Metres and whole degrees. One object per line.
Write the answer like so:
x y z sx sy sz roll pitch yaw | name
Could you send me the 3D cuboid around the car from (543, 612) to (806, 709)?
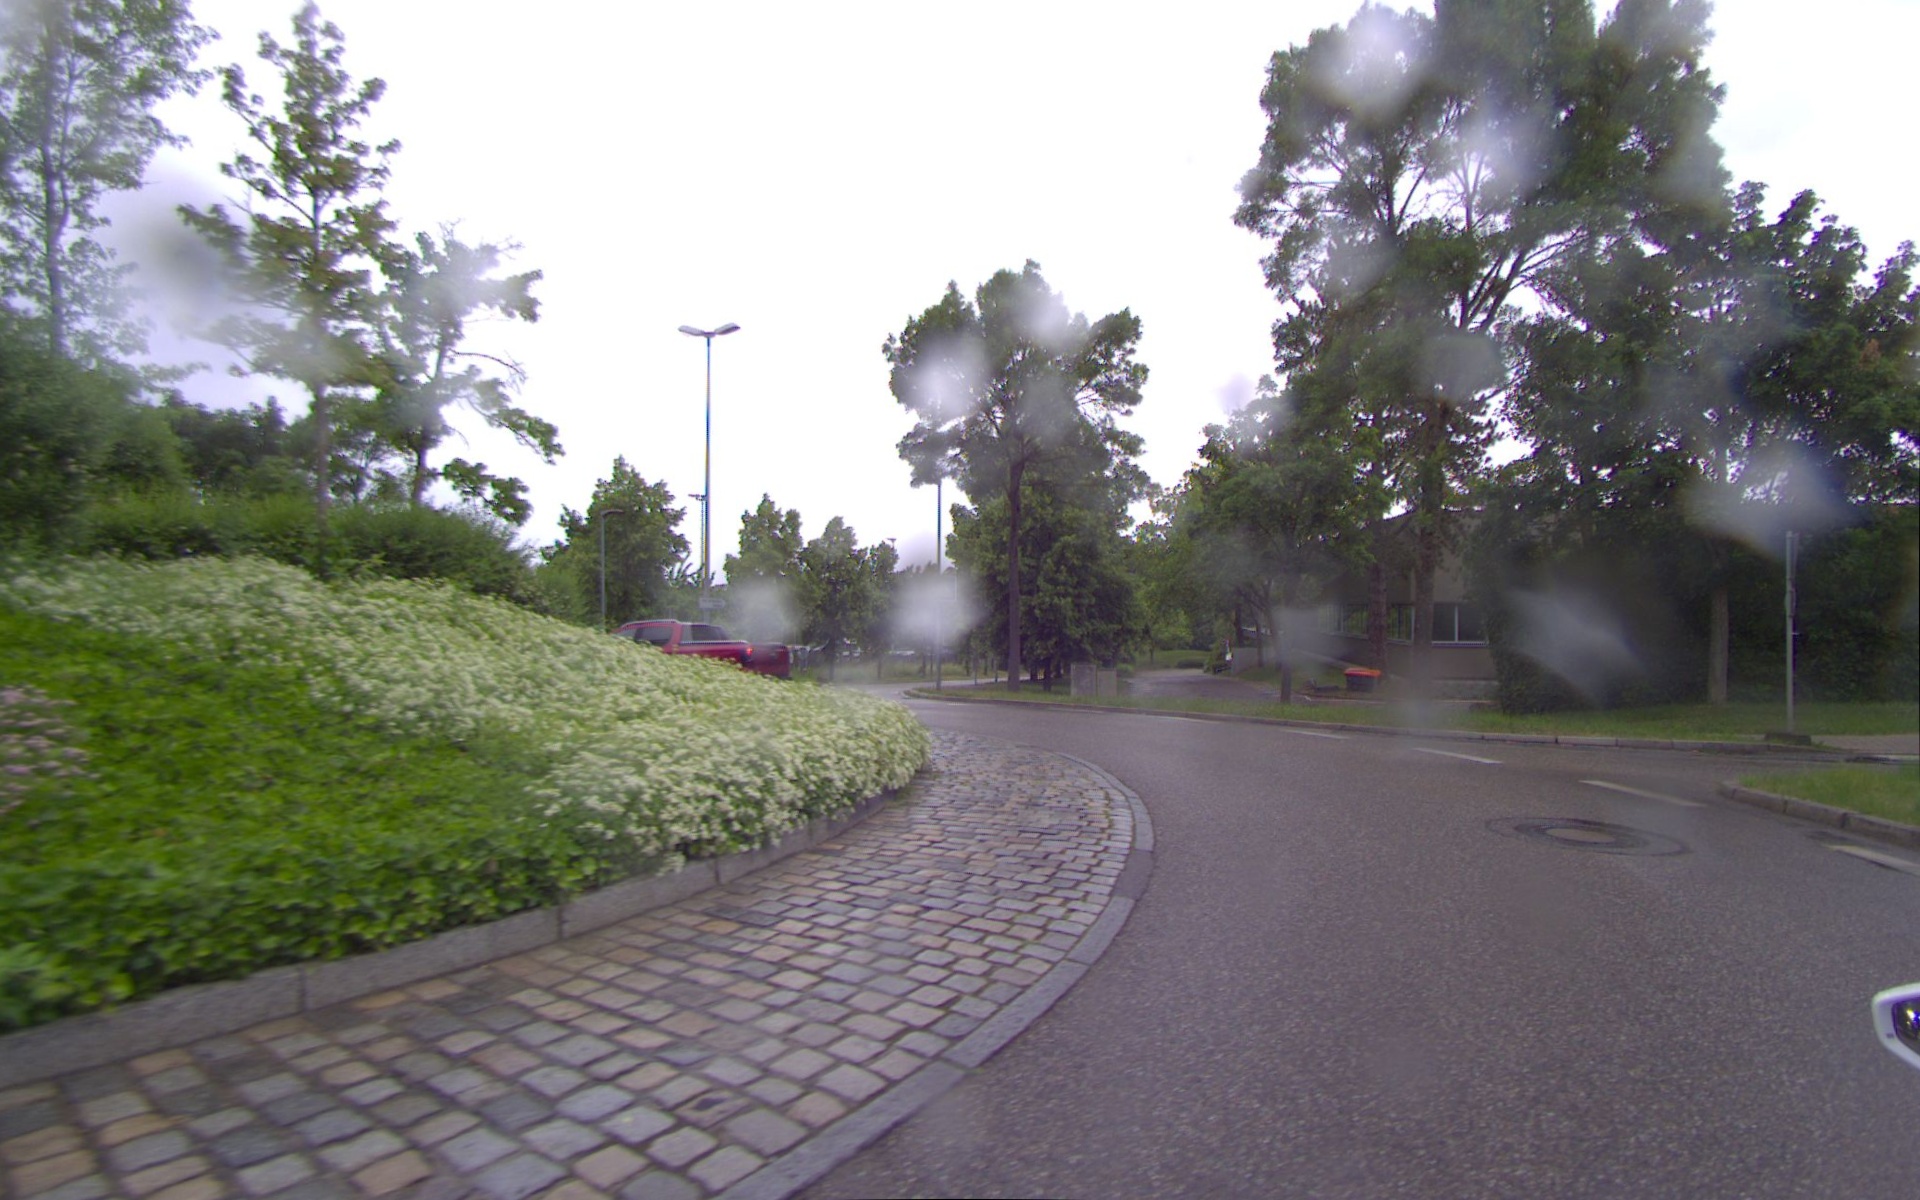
-5.871 1.193 20.669 5.010 1.819 2.000 -1 -1 21 | car
